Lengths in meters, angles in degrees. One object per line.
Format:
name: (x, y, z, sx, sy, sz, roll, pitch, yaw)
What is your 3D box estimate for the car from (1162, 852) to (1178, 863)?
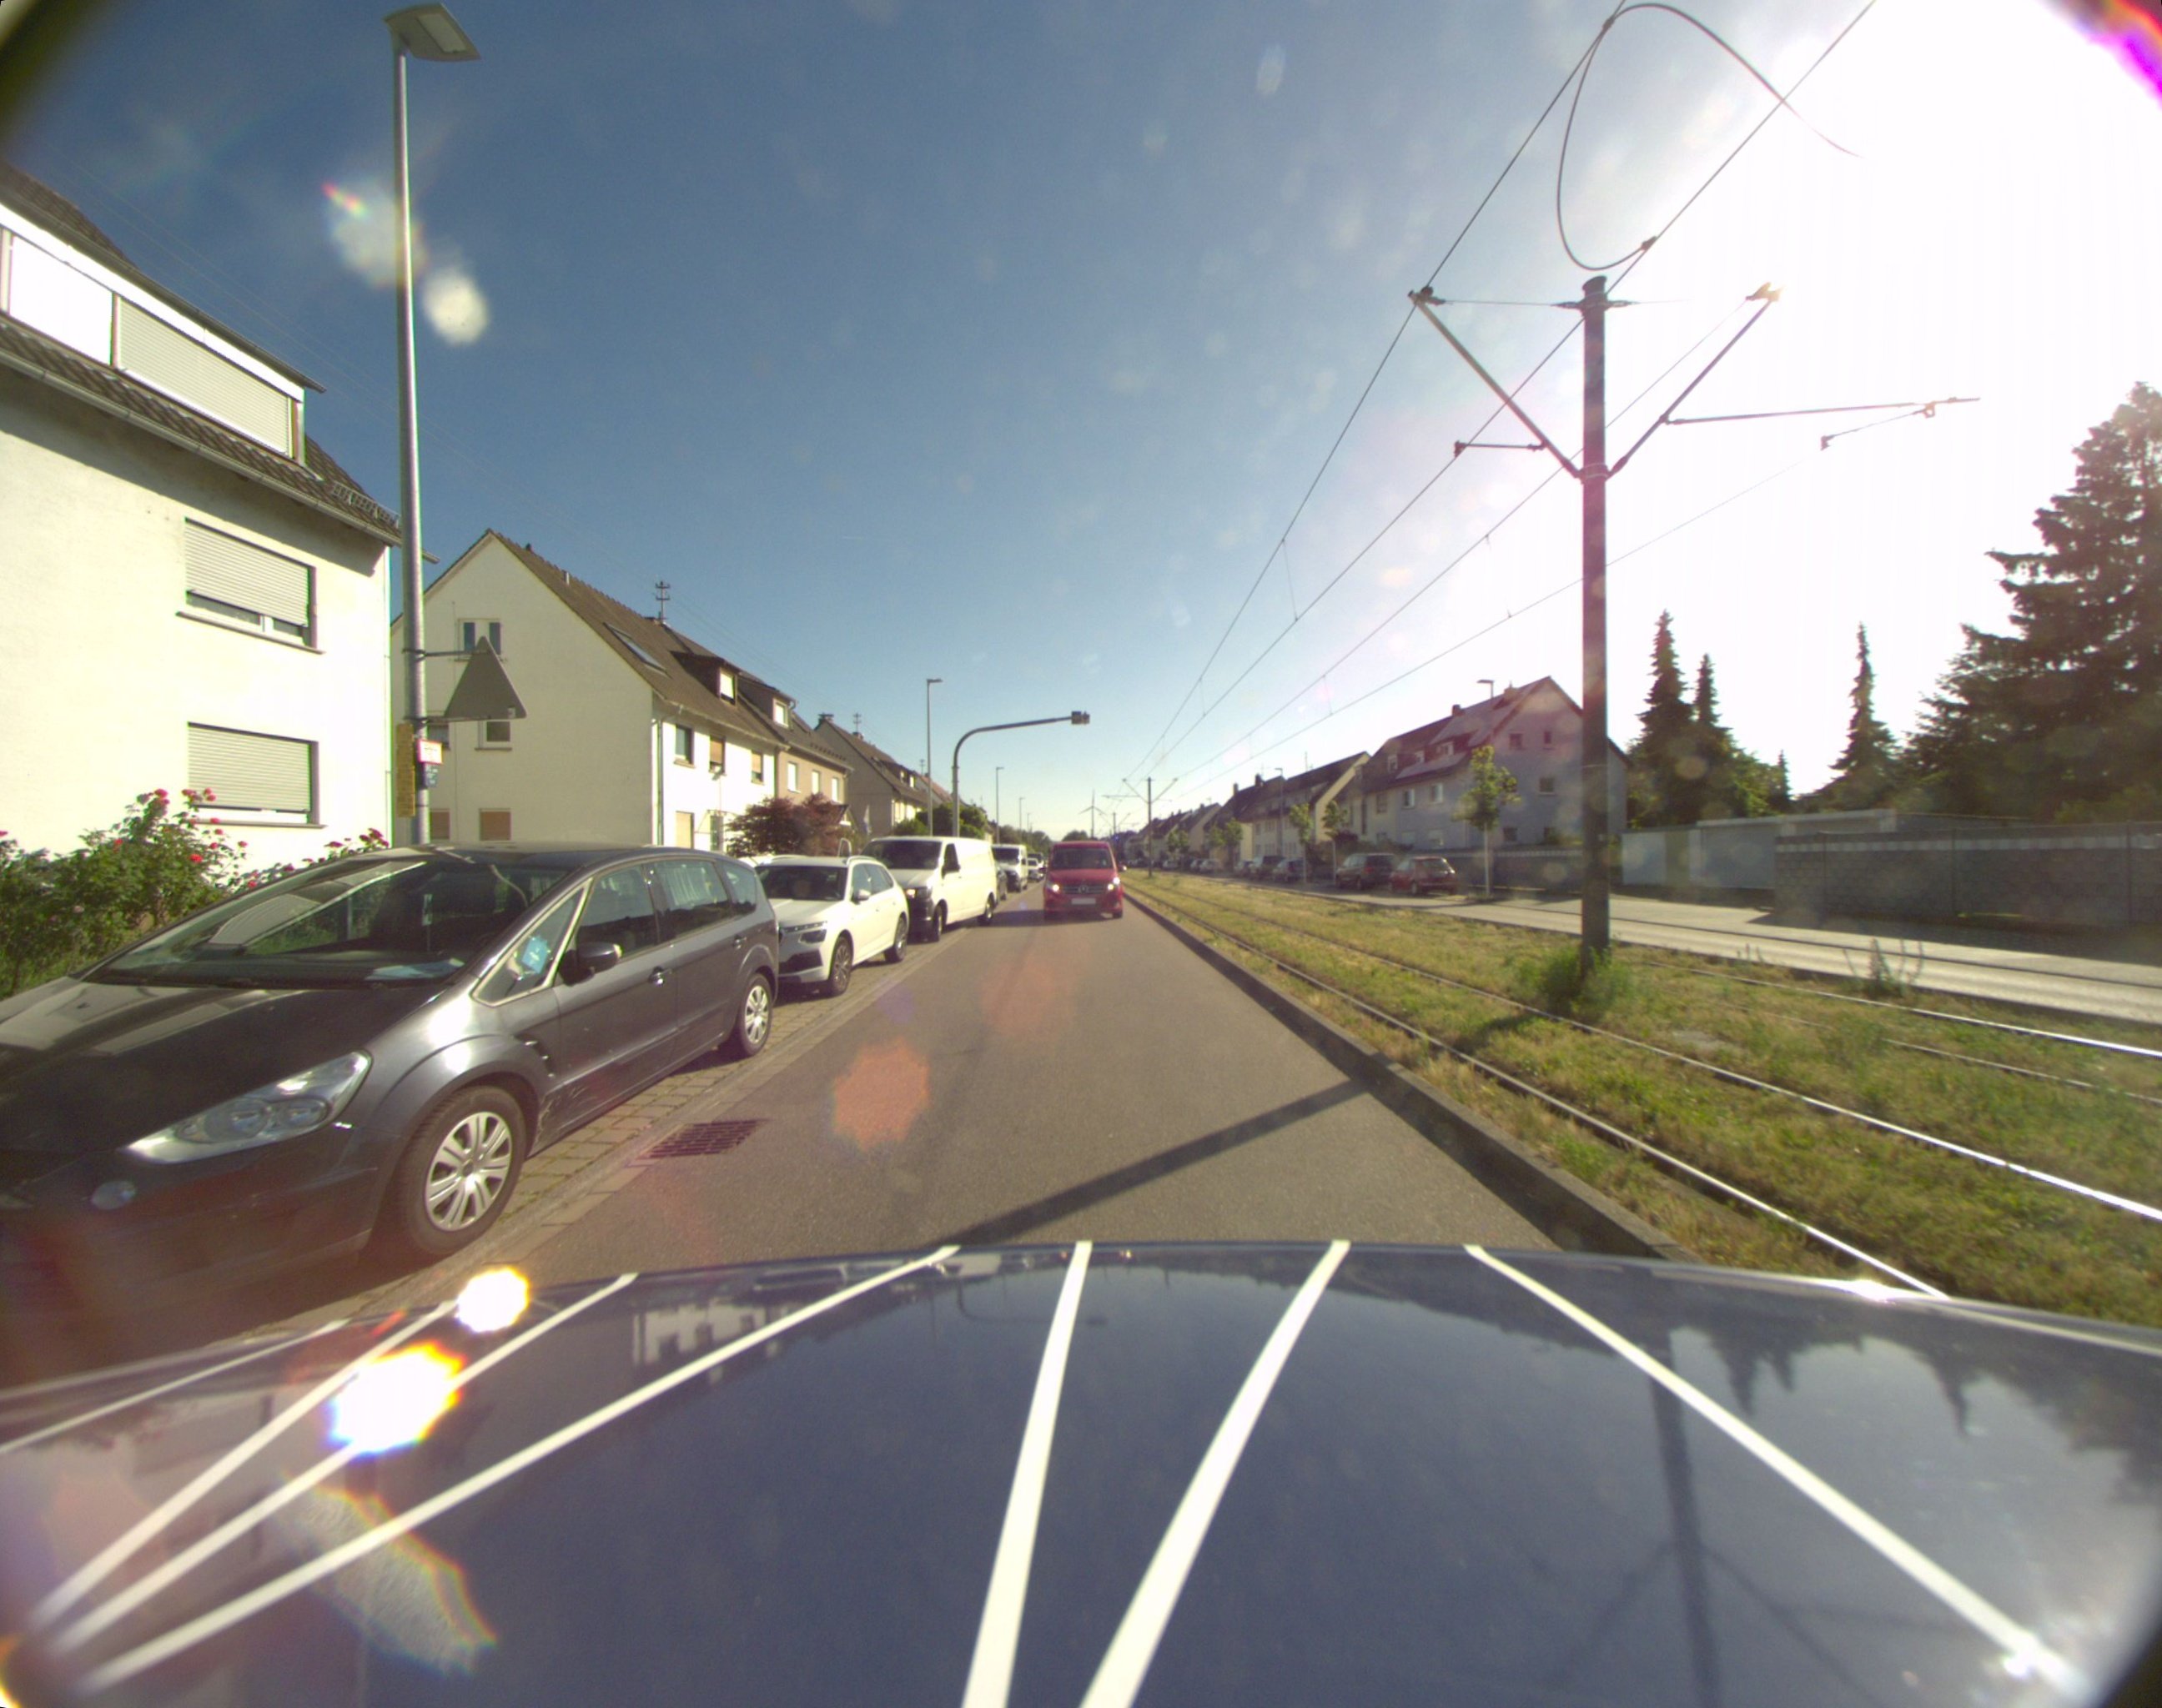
car: (12.483, 0.484, 106.714, 1.662, 1.428, 4.102, -1, 0, -3)

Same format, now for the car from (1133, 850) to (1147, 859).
car: (10.919, 0.073, 140.928, 1.926, 1.551, 4.856, -2, 1, -3)

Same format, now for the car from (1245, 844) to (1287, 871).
car: (13.324, 0.225, 55.036, 1.750, 1.812, 4.840, -3, 0, 0)

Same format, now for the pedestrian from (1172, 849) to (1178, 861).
pedestrian: (14.006, 0.162, 113.304, 0.617, 1.805, 0.678, -2, 1, -10)

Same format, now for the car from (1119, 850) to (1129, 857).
car: (9.456, -0.091, 166.129, 1.705, 1.389, 4.091, -2, 1, -3)

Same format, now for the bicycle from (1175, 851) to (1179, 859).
bicycle: (14.360, 0.134, 113.382, 0.478, 1.156, 1.871, -2, 1, 4)

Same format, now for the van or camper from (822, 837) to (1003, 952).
van or camper: (-3.152, 0.690, 15.588, 2.032, 1.945, 5.297, 0, 0, 6)

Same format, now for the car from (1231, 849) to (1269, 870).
car: (13.447, 0.393, 60.750, 1.965, 1.531, 4.555, -2, 1, -1)

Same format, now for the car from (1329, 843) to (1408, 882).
car: (13.487, 0.356, 35.966, 1.824, 1.674, 4.845, -3, 0, 0)

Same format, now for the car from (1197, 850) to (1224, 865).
car: (13.166, 0.343, 77.425, 1.693, 1.467, 4.441, -2, 1, -3)

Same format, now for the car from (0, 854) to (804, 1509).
car: (-3.328, 0.839, 4.339, 1.796, 1.619, 4.860, 1, 0, -1)

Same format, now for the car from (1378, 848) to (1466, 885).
car: (13.568, 0.458, 30.510, 1.699, 1.396, 4.078, 0, 0, 0)

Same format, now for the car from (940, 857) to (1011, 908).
car: (-3.495, 0.894, 26.107, 1.753, 1.485, 5.154, 1, 1, 0)

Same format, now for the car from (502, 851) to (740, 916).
car: (-11.397, 0.694, 19.100, 4.724, 1.469, 1.906, 0, 1, -2)

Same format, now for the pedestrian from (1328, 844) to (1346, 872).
pedestrian: (15.335, 0.243, 45.534, 0.697, 1.631, 0.919, -2, 1, -3)

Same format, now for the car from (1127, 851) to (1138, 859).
car: (10.235, 0.176, 151.413, 1.658, 1.447, 4.399, -2, 1, -2)

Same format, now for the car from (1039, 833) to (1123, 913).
car: (-0.116, 0.439, 21.132, 1.999, 1.889, 5.388, -2, 1, -2)

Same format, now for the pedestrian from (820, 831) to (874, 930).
pedestrian: (-4.657, 0.510, 15.157, 0.700, 1.901, 0.759, -2, 1, 8)

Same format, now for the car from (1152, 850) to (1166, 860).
car: (12.285, 0.176, 119.436, 1.623, 1.503, 4.084, -2, 0, -1)

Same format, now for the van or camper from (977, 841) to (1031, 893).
van or camper: (-3.596, 0.536, 36.769, 1.999, 2.258, 6.303, 1, 1, 0)

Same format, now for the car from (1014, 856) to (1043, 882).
car: (-3.625, 1.024, 52.877, 1.730, 1.636, 4.317, 1, 1, -1)

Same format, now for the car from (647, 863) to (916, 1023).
car: (-3.427, 0.914, 9.628, 1.660, 1.484, 4.159, 0, 1, 1)

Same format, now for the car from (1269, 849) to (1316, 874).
car: (13.585, 0.461, 48.938, 1.681, 1.482, 4.048, -3, 1, -3)

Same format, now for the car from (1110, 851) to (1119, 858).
car: (7.920, 0.042, 181.006, 1.832, 1.522, 4.091, -2, 1, -3)

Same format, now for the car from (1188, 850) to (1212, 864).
car: (13.023, 0.292, 83.486, 1.693, 1.464, 4.313, -2, 1, -3)
